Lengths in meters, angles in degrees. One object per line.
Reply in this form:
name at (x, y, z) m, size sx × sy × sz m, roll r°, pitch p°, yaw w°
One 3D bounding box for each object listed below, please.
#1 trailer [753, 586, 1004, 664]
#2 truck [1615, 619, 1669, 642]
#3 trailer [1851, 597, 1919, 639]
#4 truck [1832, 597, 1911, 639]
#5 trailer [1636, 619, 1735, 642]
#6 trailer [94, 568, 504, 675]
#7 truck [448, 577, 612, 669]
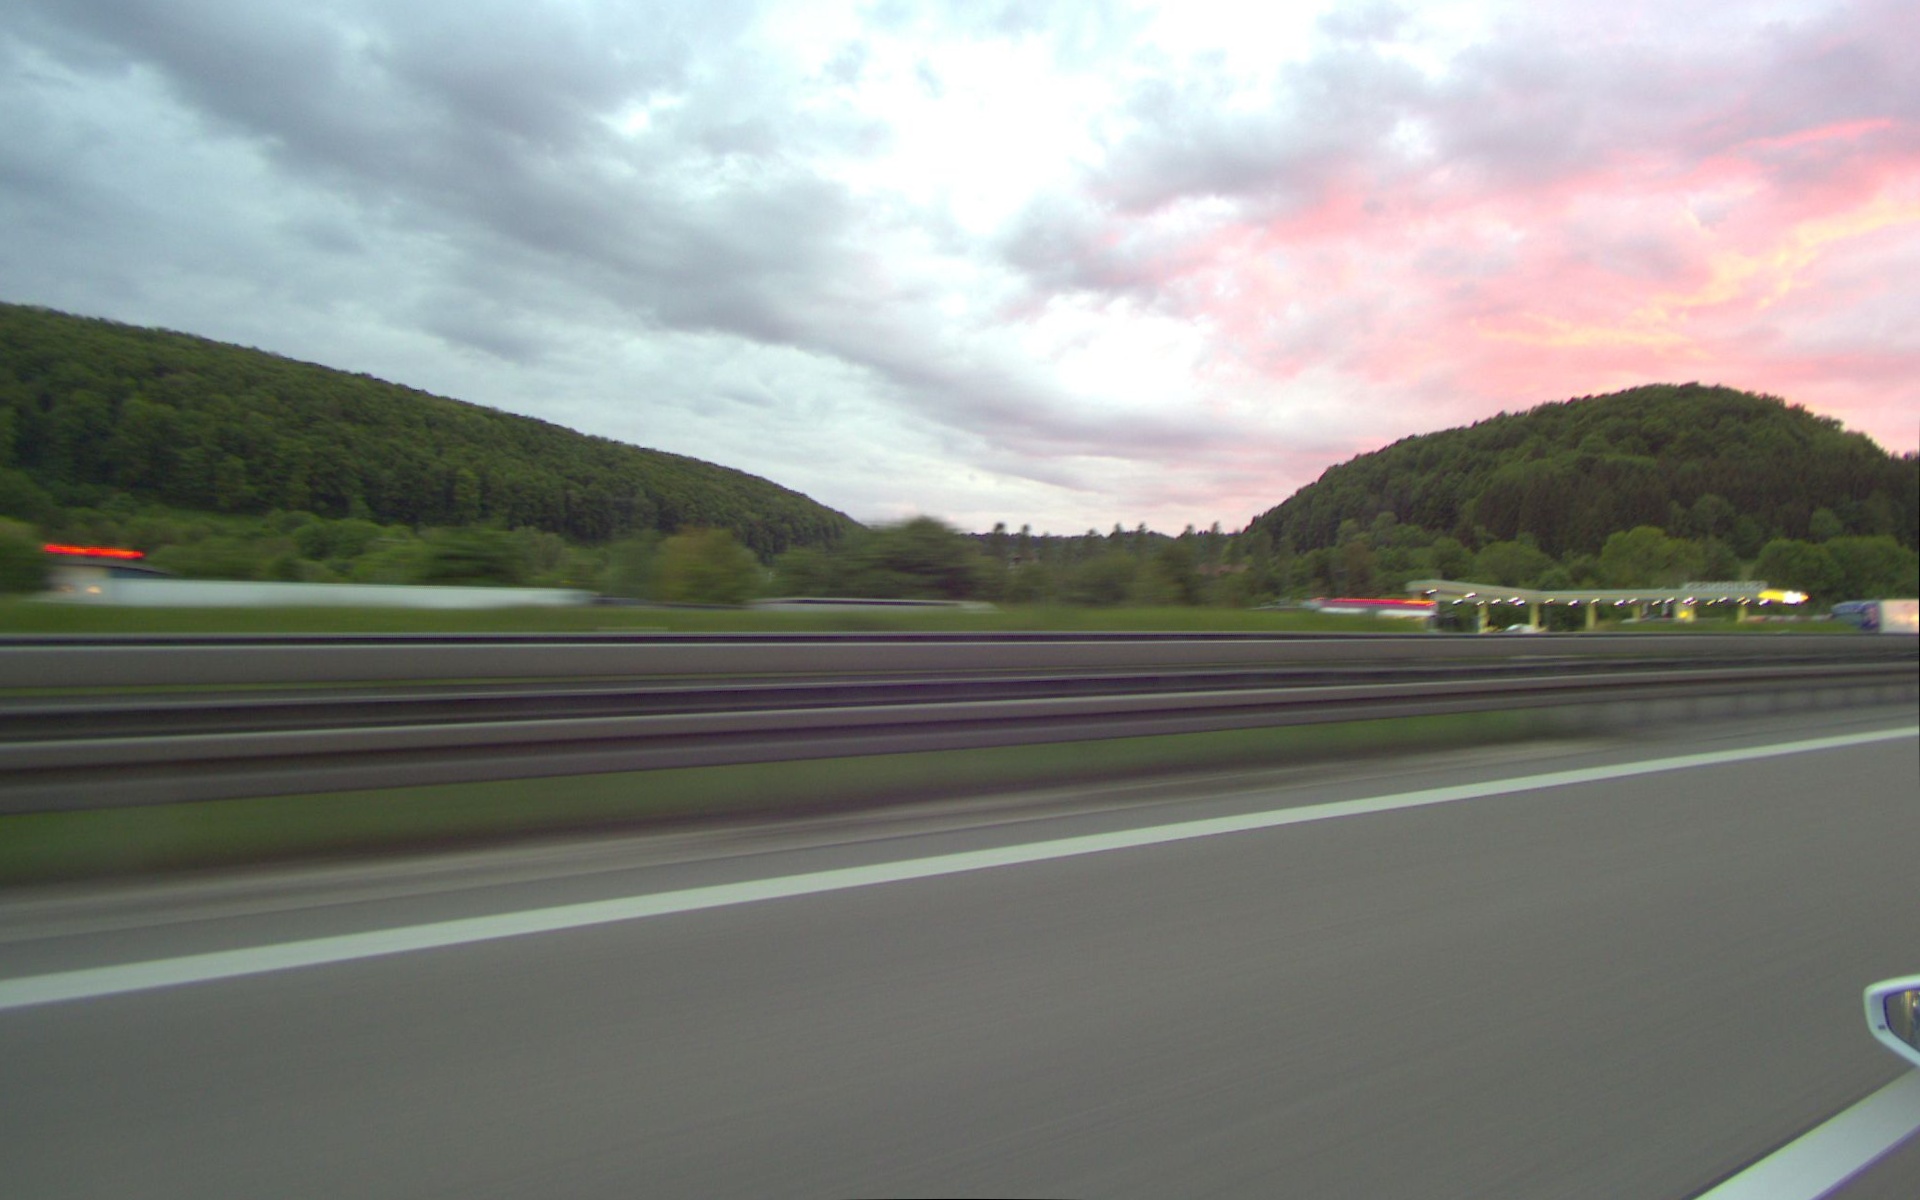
trailer at (-3.397, 1.118, 44.586) m, size 11.036 × 3.129 × 2.852 m, roll 1°, pitch -1°, yaw -32°
truck at (108.816, 4.804, 160.301) m, size 6.578 × 3.566 × 2.942 m, roll 0°, pitch -1°, yaw 4°
trailer at (82.951, 1.565, 88.270) m, size 13.063 × 3.470 × 2.860 m, roll 1°, pitch 0°, yaw -29°
truck at (77.069, 1.516, 84.942) m, size 7.087 × 3.421 × 2.861 m, roll 1°, pitch 0°, yaw -29°
trailer at (115.418, 4.849, 159.900) m, size 13.149 × 3.566 × 2.942 m, roll 0°, pitch -1°, yaw 4°
trailer at (-21.442, 0.748, 33.659) m, size 11.028 × 3.129 × 2.854 m, roll 1°, pitch -1°, yaw -30°
truck at (-15.769, 0.860, 36.881) m, size 5.241 × 3.129 × 2.854 m, roll 1°, pitch -1°, yaw -30°
